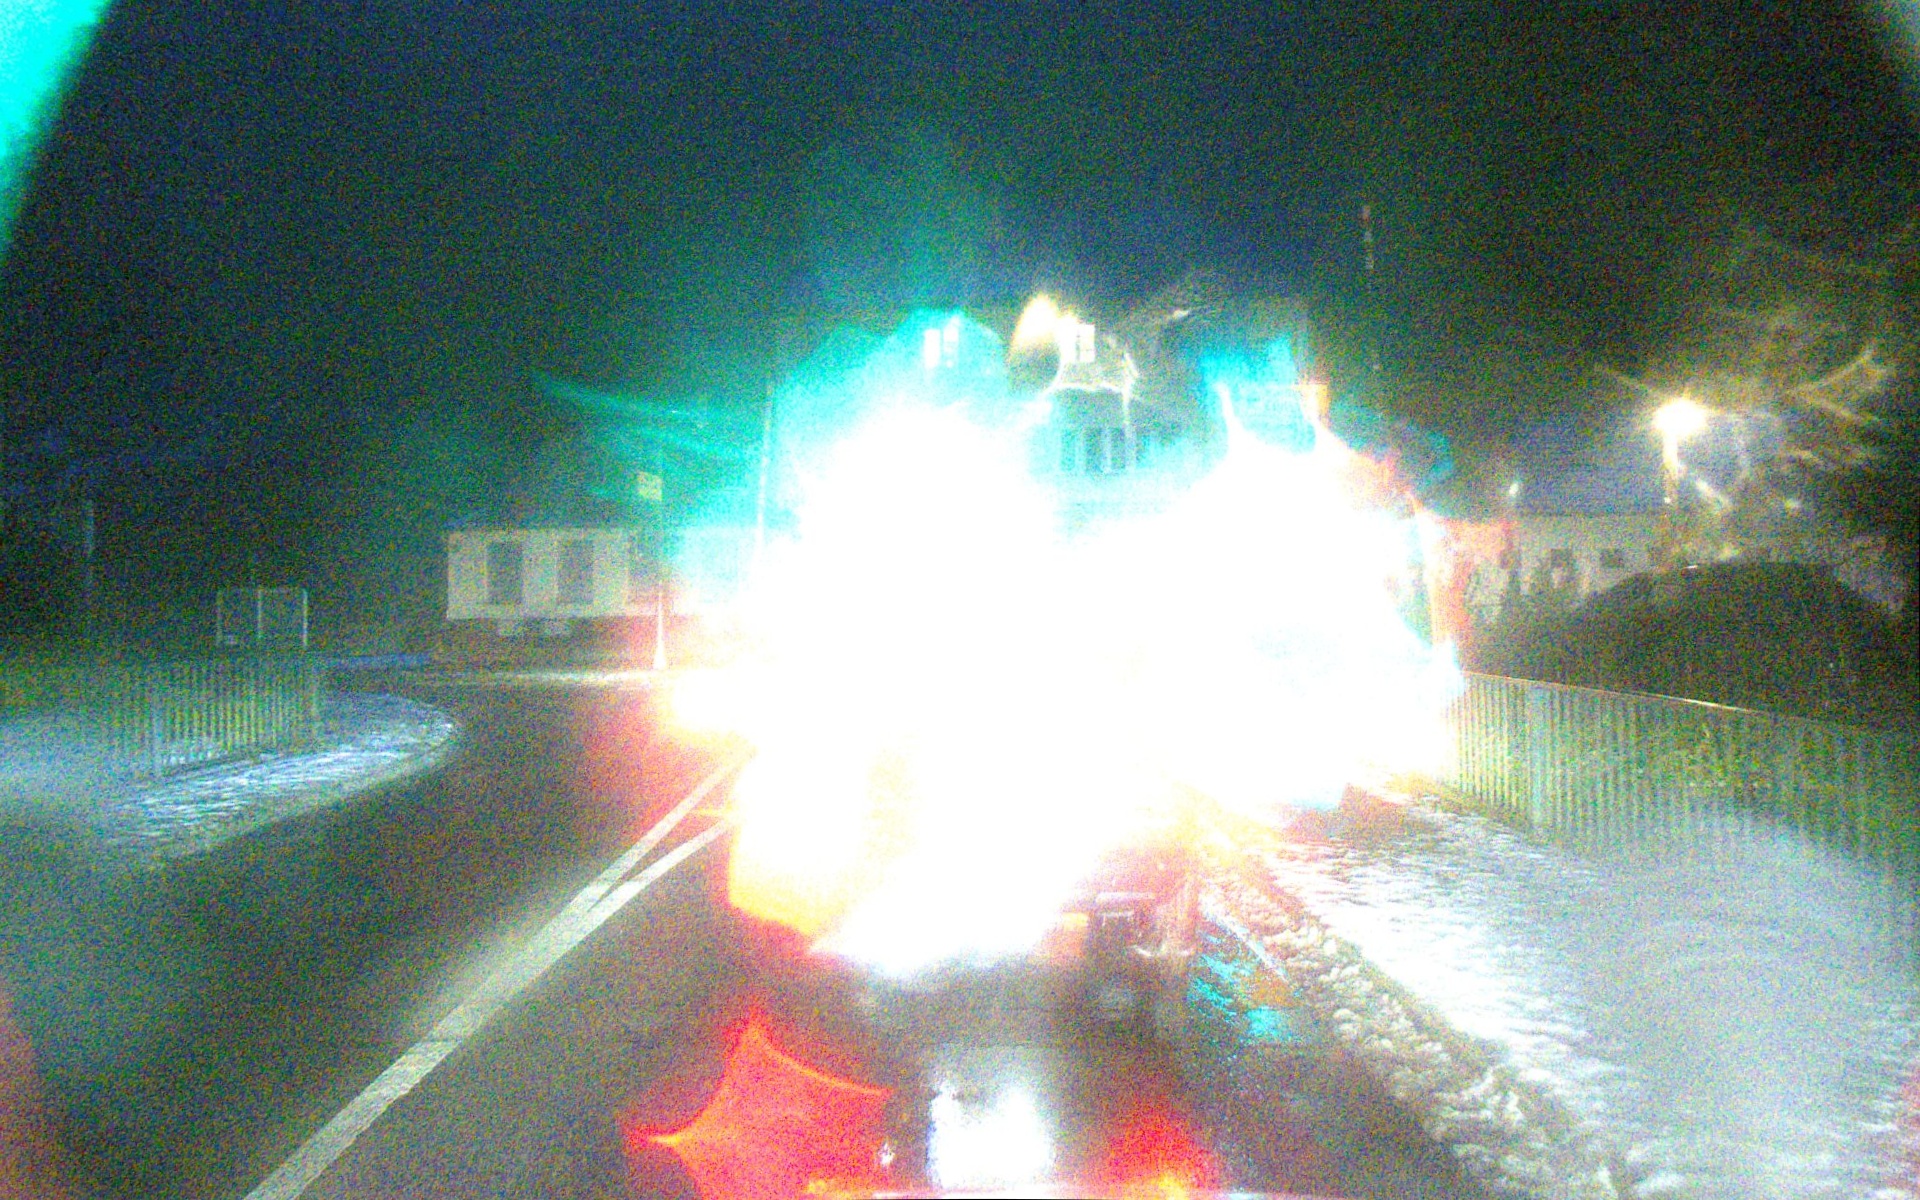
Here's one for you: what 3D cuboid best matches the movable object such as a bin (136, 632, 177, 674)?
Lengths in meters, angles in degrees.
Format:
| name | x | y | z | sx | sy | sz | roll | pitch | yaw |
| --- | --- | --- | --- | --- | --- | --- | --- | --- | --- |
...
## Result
| name | x | y | z | sx | sy | sz | roll | pitch | yaw |
| --- | --- | --- | --- | --- | --- | --- | --- | --- | --- |
| movable object such as a bin | -27.240 | 1.797 | 56.107 | 1.213 | 1.348 | 1.144 | -1 | 0 | -26 |

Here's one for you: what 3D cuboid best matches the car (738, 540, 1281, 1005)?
| name | x | y | z | sx | sy | sz | roll | pitch | yaw |
| --- | --- | --- | --- | --- | --- | --- | --- | --- | --- |
| car | 0.161 | 0.667 | 8.330 | 2.016 | 1.707 | 4.138 | 2 | 0 | -1 |

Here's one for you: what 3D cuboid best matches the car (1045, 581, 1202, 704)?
| name | x | y | z | sx | sy | sz | roll | pitch | yaw |
| --- | --- | --- | --- | --- | --- | --- | --- | --- | --- |
| car | 3.061 | 0.751 | 30.148 | 1.735 | 1.981 | 4.254 | 3 | 0 | 21 |

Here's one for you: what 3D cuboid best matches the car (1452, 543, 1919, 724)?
| name | x | y | z | sx | sy | sz | roll | pitch | yaw |
| --- | --- | --- | --- | --- | --- | --- | --- | --- | --- |
| car | 7.649 | 0.338 | 17.606 | 4.372 | 1.613 | 1.941 | -3 | 0 | 10 |

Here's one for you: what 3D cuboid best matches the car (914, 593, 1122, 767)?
| name | x | y | z | sx | sy | sz | roll | pitch | yaw |
| --- | --- | --- | --- | --- | --- | --- | --- | --- | --- |
| car | 0.569 | 0.736 | 17.545 | 1.870 | 1.537 | 4.241 | -3 | 0 | 1 |
